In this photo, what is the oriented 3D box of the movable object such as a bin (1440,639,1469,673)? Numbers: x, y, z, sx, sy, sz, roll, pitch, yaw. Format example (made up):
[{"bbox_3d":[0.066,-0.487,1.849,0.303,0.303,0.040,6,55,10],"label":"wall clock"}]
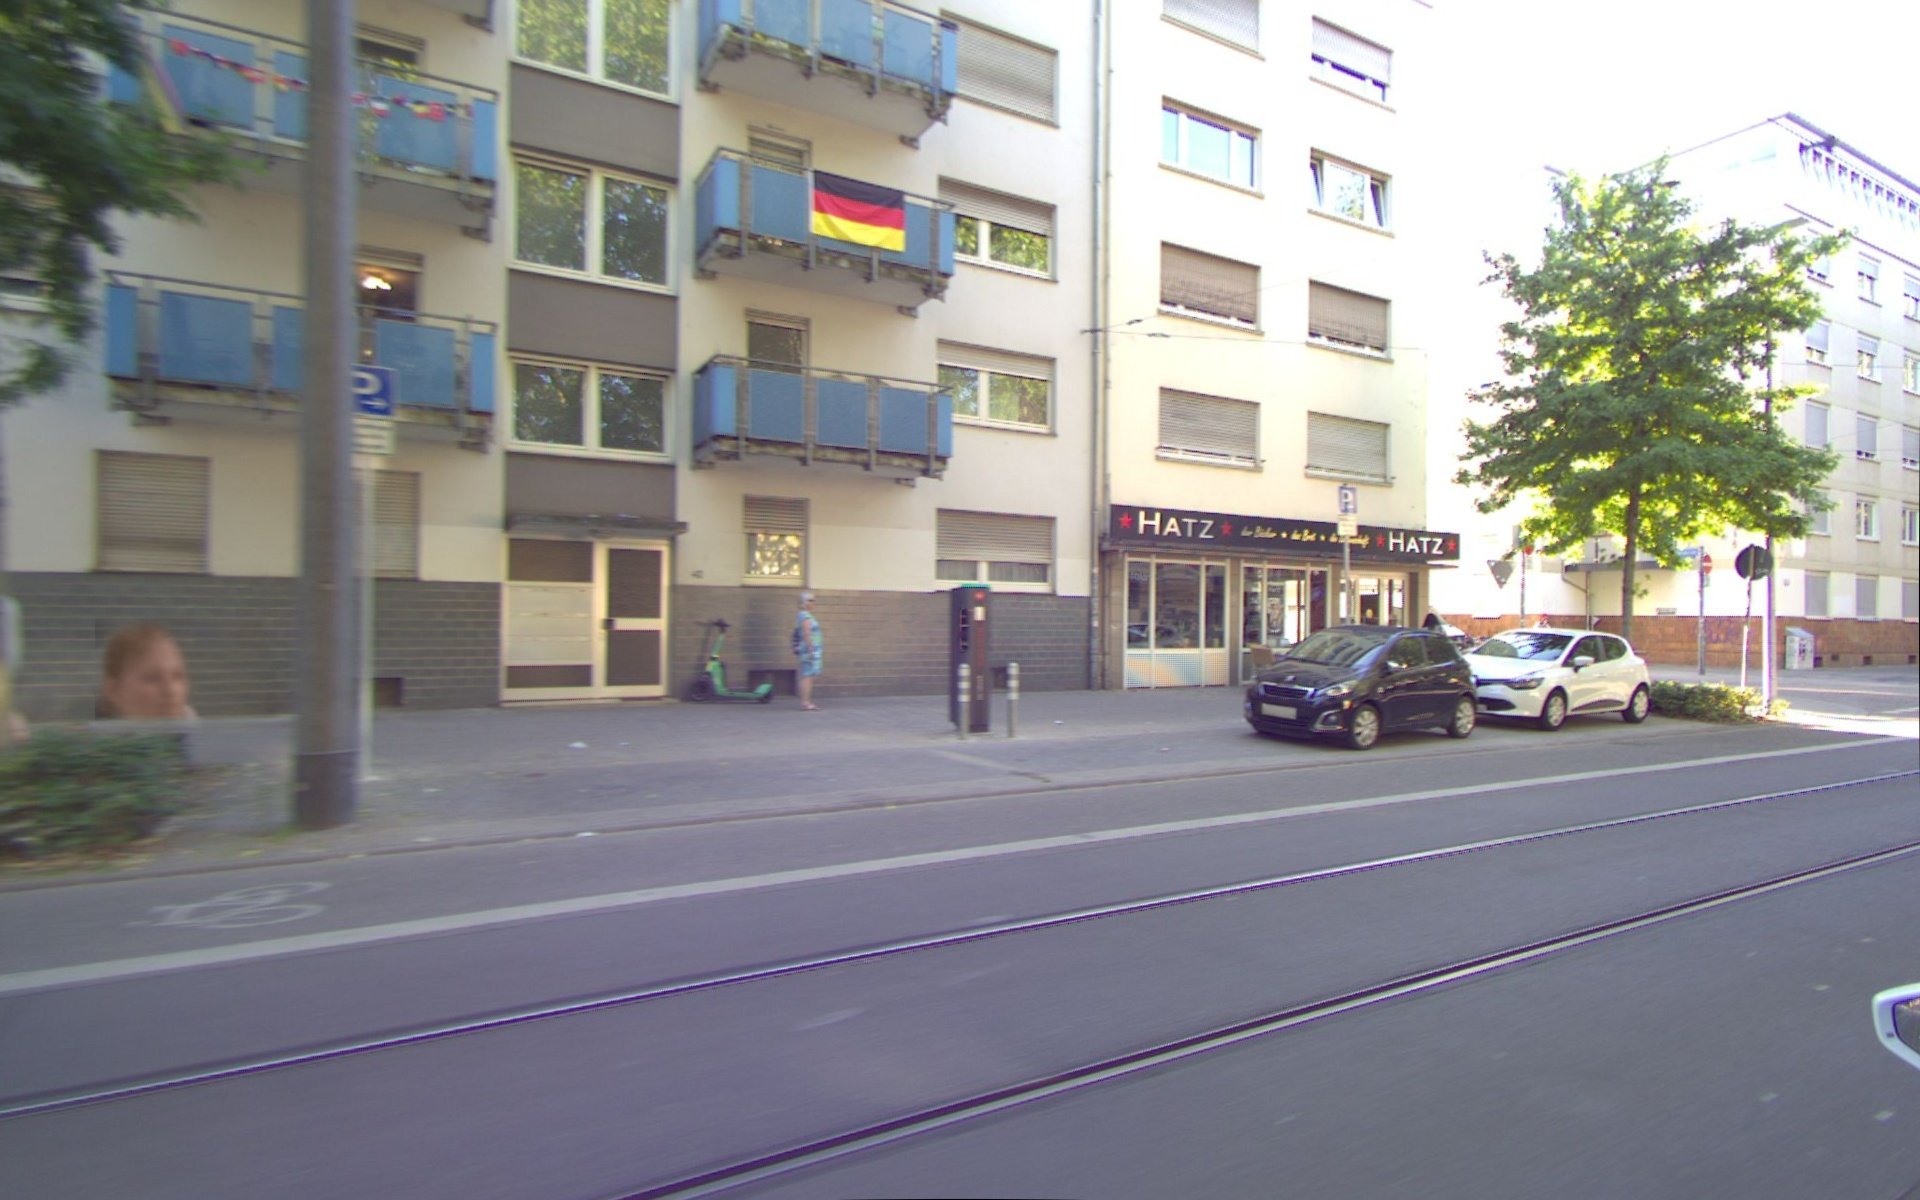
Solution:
[{"bbox_3d":[14.757,1.658,29.964,0.636,0.986,0.588,1,-1,-40],"label":"movable object such as a bin"}]

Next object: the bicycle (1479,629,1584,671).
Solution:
[{"bbox_3d":[17.551,1.516,30.962,0.909,1.172,2.786,1,-1,-26],"label":"bicycle"}]

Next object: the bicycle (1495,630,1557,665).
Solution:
[{"bbox_3d":[19.259,1.613,34.209,0.579,1.172,1.736,2,-3,-37],"label":"bicycle"}]

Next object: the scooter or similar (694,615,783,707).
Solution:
[{"bbox_3d":[-3.248,0.892,14.739,1.219,1.306,0.374,1,-3,-22],"label":"scooter or similar"}]

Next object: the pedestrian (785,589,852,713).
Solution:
[{"bbox_3d":[-2.034,0.714,14.380,0.740,1.713,0.660,1,-1,-31],"label":"pedestrian"}]

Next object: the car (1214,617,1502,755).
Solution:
[{"bbox_3d":[5.376,1.044,13.395,3.963,1.484,1.701,1,2,-37],"label":"car"}]

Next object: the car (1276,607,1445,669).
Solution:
[{"bbox_3d":[12.906,1.179,32.674,2.017,1.846,4.846,1,-1,-33],"label":"car"}]

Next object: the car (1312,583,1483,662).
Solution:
[{"bbox_3d":[16.386,0.833,37.996,2.145,2.759,5.779,1,-1,-30],"label":"car"}]

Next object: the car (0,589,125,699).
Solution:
[{"bbox_3d":[-14.512,0.601,15.543,1.831,1.495,3.991,2,0,-31],"label":"car"}]

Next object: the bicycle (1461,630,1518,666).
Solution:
[{"bbox_3d":[17.794,1.619,33.796,1.571,1.172,0.585,-1,-2,16],"label":"bicycle"}]

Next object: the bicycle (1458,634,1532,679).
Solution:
[{"bbox_3d":[14.337,1.515,26.997,0.562,1.172,1.945,1,-3,-15],"label":"bicycle"}]

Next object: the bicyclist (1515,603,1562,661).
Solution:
[{"bbox_3d":[17.693,0.963,30.729,0.896,1.727,0.868,1,0,-26],"label":"bicyclist"}]

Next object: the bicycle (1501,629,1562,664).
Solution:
[{"bbox_3d":[19.557,1.601,34.403,0.579,1.172,1.736,2,-3,-37],"label":"bicycle"}]

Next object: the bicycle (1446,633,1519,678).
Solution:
[{"bbox_3d":[13.947,1.472,26.881,0.562,1.172,1.945,1,-3,-15],"label":"bicycle"}]

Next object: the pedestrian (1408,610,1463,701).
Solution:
[{"bbox_3d":[9.175,1.055,19.391,0.740,1.713,0.660,1,-1,-31],"label":"pedestrian"}]

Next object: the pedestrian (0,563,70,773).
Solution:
[{"bbox_3d":[-8.151,0.556,8.482,0.785,1.713,0.760,1,-1,-31],"label":"pedestrian"}]

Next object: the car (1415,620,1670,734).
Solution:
[{"bbox_3d":[9.265,1.141,15.874,4.331,1.484,1.702,2,2,-34],"label":"car"}]
